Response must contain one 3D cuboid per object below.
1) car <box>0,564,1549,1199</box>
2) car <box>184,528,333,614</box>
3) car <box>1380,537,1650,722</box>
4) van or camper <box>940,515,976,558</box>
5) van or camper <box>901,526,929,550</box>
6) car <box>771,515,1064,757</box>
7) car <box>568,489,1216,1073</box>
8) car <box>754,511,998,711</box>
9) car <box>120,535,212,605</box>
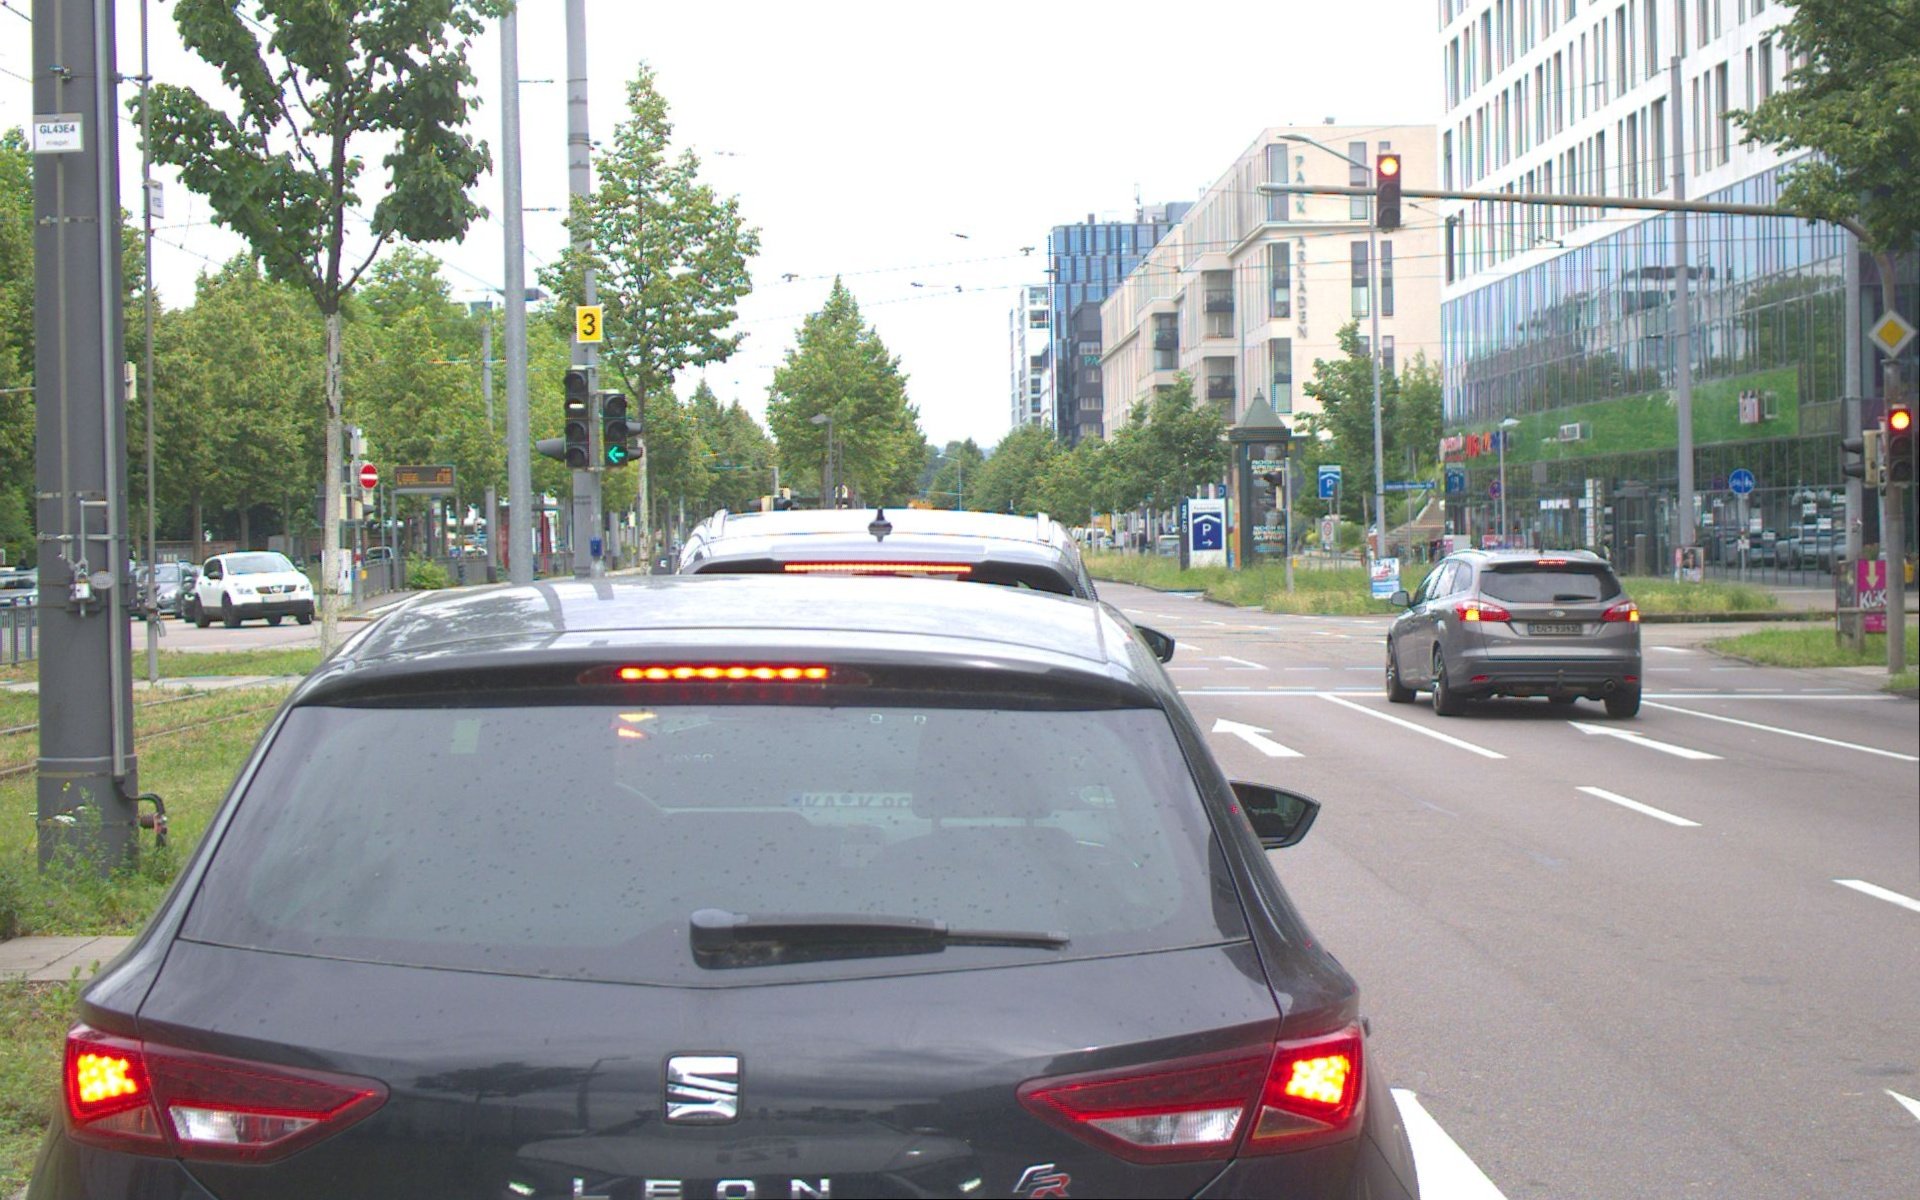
[{"bbox_3d":[-0.332,0.681,5.468,1.743,1.412,4.000,0,1,-1],"label":"car"},{"bbox_3d":[-14.853,-0.628,72.648,1.993,1.744,4.201,-1,1,-27],"label":"car"},{"bbox_3d":[5.006,0.214,31.507,1.748,1.494,4.269,0,2,0],"label":"car"},{"bbox_3d":[-0.123,-3.793,204.982,2.109,2.348,4.924,0,3,0],"label":"van or camper"},{"bbox_3d":[-3.314,-4.589,254.376,1.993,1.609,4.789,0,2,0],"label":"van or camper"},{"bbox_3d":[-0.240,0.201,26.076,1.994,1.676,4.000,1,1,2],"label":"car"},{"bbox_3d":[-0.214,0.468,11.692,1.802,1.619,4.000,-1,1,-1],"label":"car"},{"bbox_3d":[-0.691,0.043,31.136,1.993,1.676,4.000,0,1,2],"label":"car"},{"bbox_3d":[-20.592,-0.792,89.276,1.993,1.744,4.001,-1,1,-9],"label":"car"}]
